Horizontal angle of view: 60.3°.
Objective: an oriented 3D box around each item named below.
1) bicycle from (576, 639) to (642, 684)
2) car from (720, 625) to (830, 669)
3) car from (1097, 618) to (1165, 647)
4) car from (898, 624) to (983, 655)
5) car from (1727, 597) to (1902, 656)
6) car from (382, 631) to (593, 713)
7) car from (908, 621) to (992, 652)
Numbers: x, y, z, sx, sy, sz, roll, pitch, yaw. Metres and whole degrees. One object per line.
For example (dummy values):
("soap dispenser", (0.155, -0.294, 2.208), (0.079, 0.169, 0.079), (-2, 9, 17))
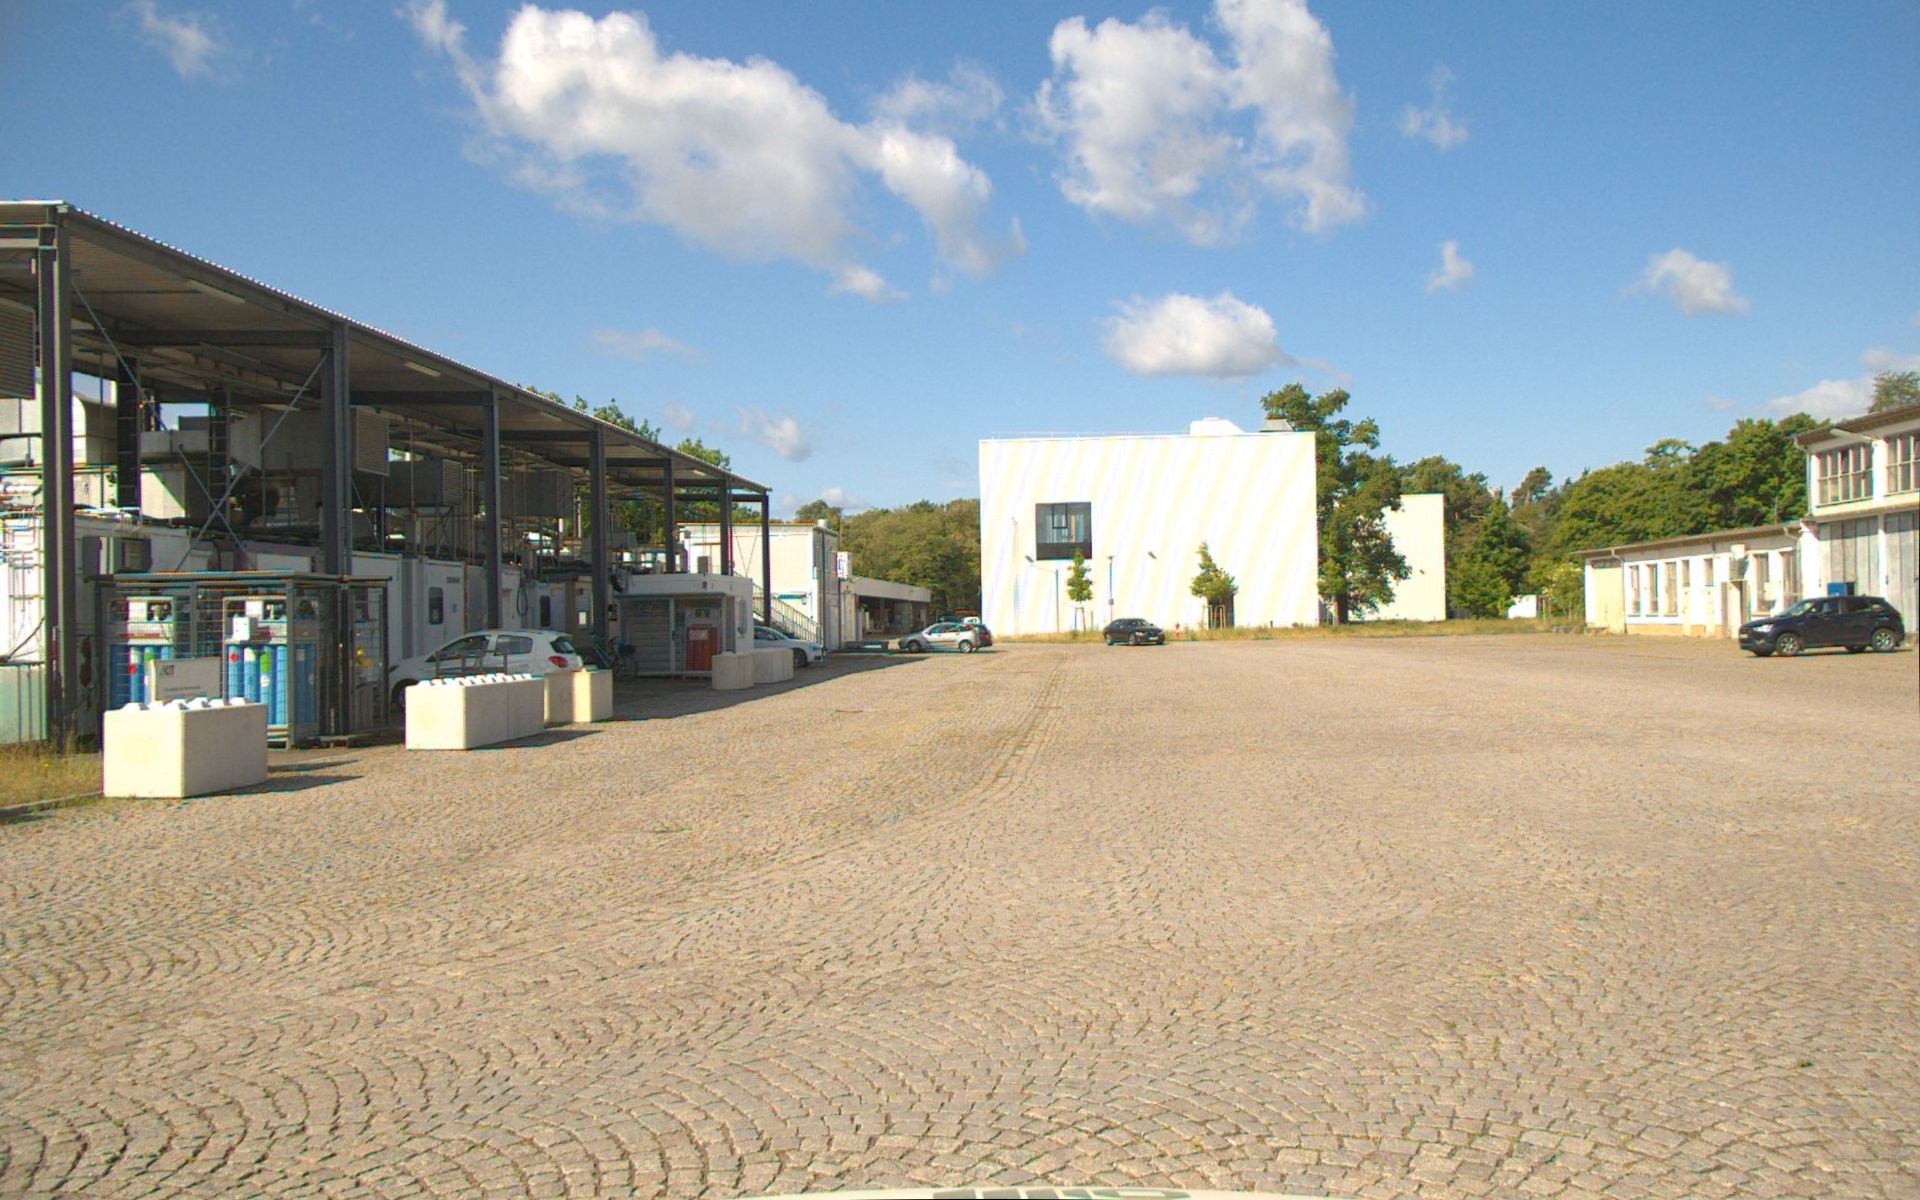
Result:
("bicycle", (-9.368, 1.642, 44.112), (1.631, 1.156, 0.485), (-1, -1, 3))
("car", (-6.470, 1.635, 58.059), (3.609, 1.433, 1.676), (-1, -1, 1))
("car", (8.957, 1.725, 86.840), (1.713, 1.454, 4.042), (-1, -1, -26))
("car", (-0.959, 1.941, 82.338), (4.087, 1.428, 1.741), (-1, -1, 3))
("car", (24.067, 0.741, 46.659), (3.978, 1.495, 1.741), (-2, -1, 3))
("car", (-8.684, 1.307, 30.547), (3.390, 1.400, 1.611), (-1, -1, 1))
("car", (-0.496, 1.897, 85.555), (4.254, 1.495, 1.741), (-1, -1, 3))
